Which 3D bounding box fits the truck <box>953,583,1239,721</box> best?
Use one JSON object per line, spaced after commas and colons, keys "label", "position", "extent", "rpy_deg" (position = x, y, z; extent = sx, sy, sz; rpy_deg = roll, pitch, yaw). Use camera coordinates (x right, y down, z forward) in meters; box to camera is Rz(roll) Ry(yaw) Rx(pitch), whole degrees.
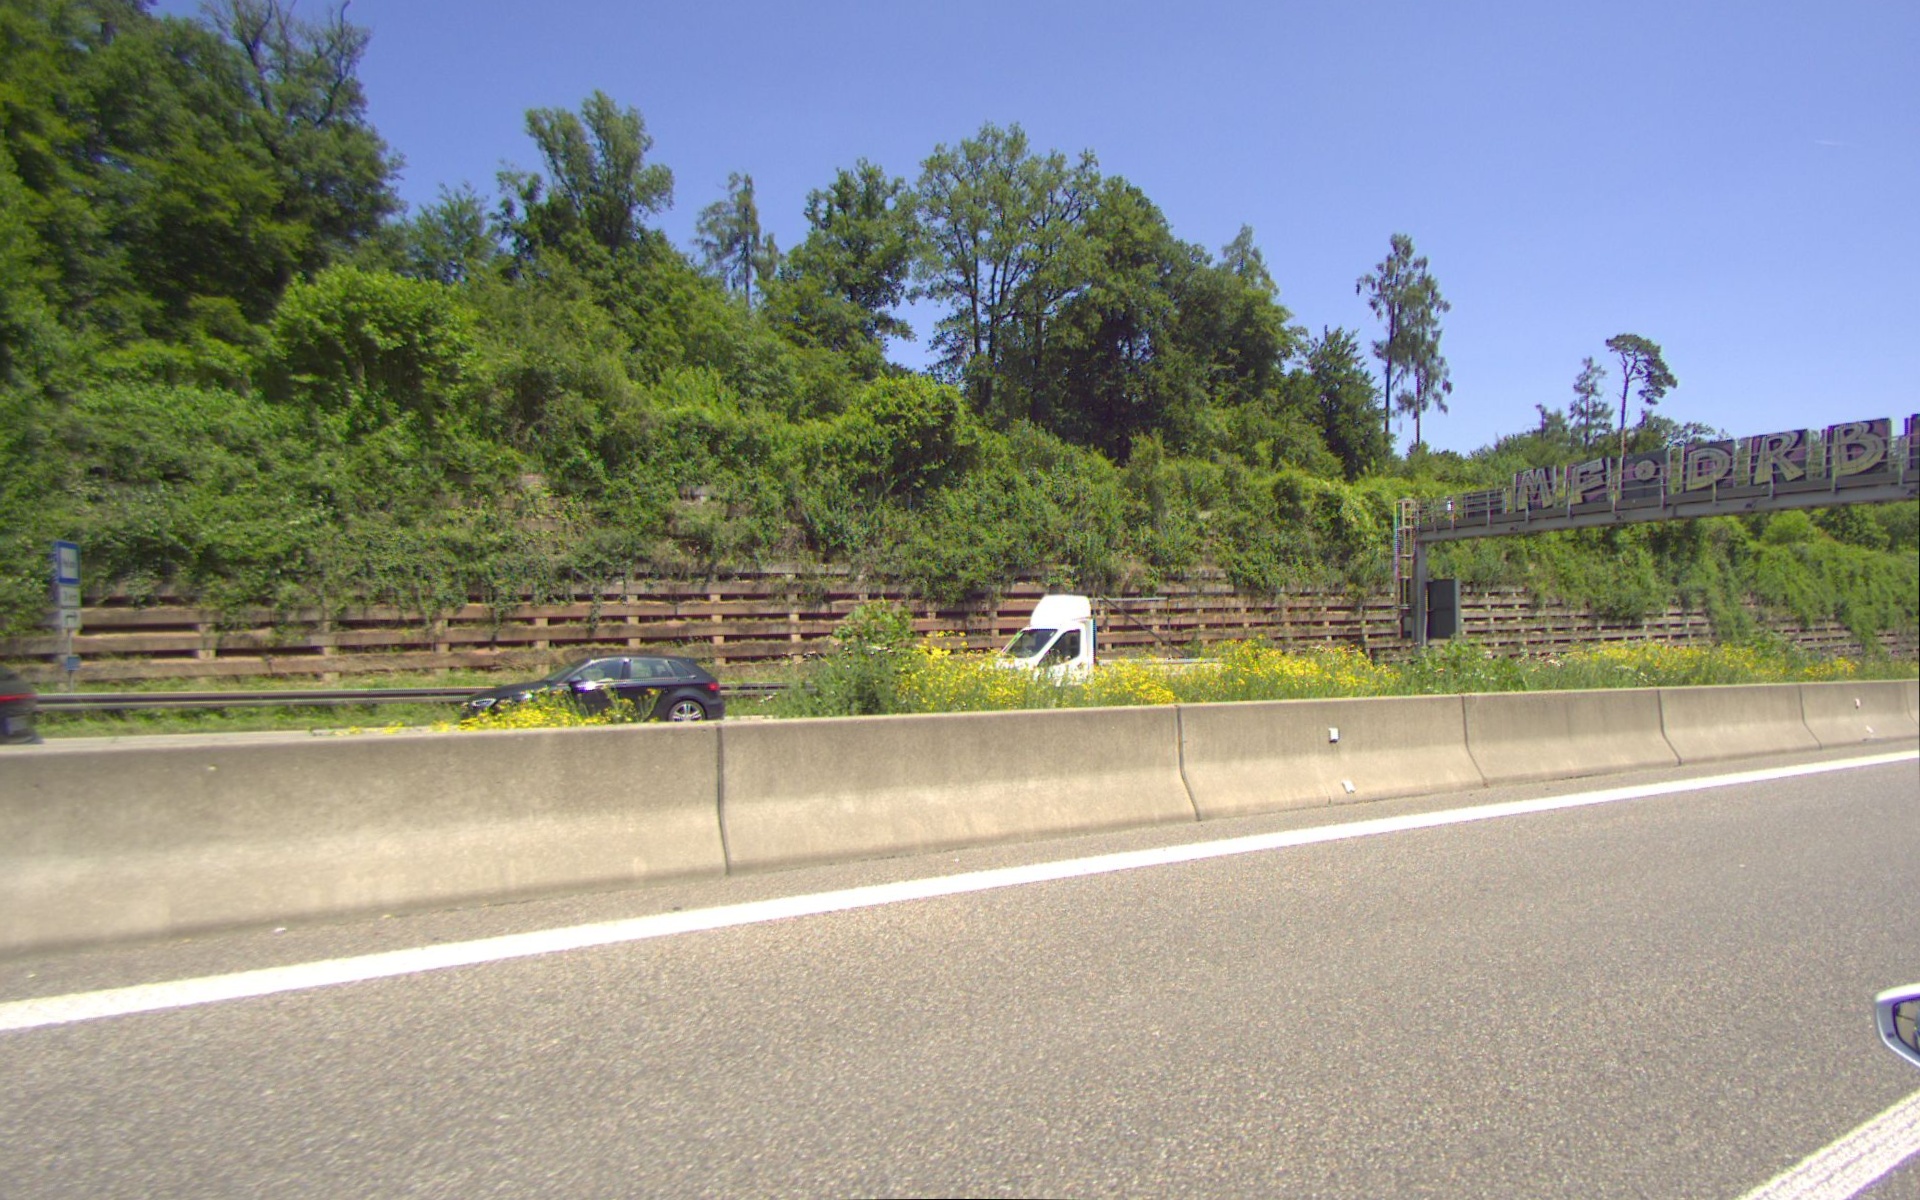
{"label": "truck", "position": [3.471, 1.265, 24.984], "extent": [6.980, 3.032, 2.567], "rpy_deg": [1, -3, -31]}

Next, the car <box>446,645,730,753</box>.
{"label": "car", "position": [-6.324, 1.588, 17.197], "extent": [4.320, 1.625, 1.791], "rpy_deg": [1, -3, -31]}

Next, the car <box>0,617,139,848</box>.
{"label": "car", "position": [-8.910, 0.935, 6.972], "extent": [4.658, 1.626, 1.994], "rpy_deg": [1, -3, -31]}
